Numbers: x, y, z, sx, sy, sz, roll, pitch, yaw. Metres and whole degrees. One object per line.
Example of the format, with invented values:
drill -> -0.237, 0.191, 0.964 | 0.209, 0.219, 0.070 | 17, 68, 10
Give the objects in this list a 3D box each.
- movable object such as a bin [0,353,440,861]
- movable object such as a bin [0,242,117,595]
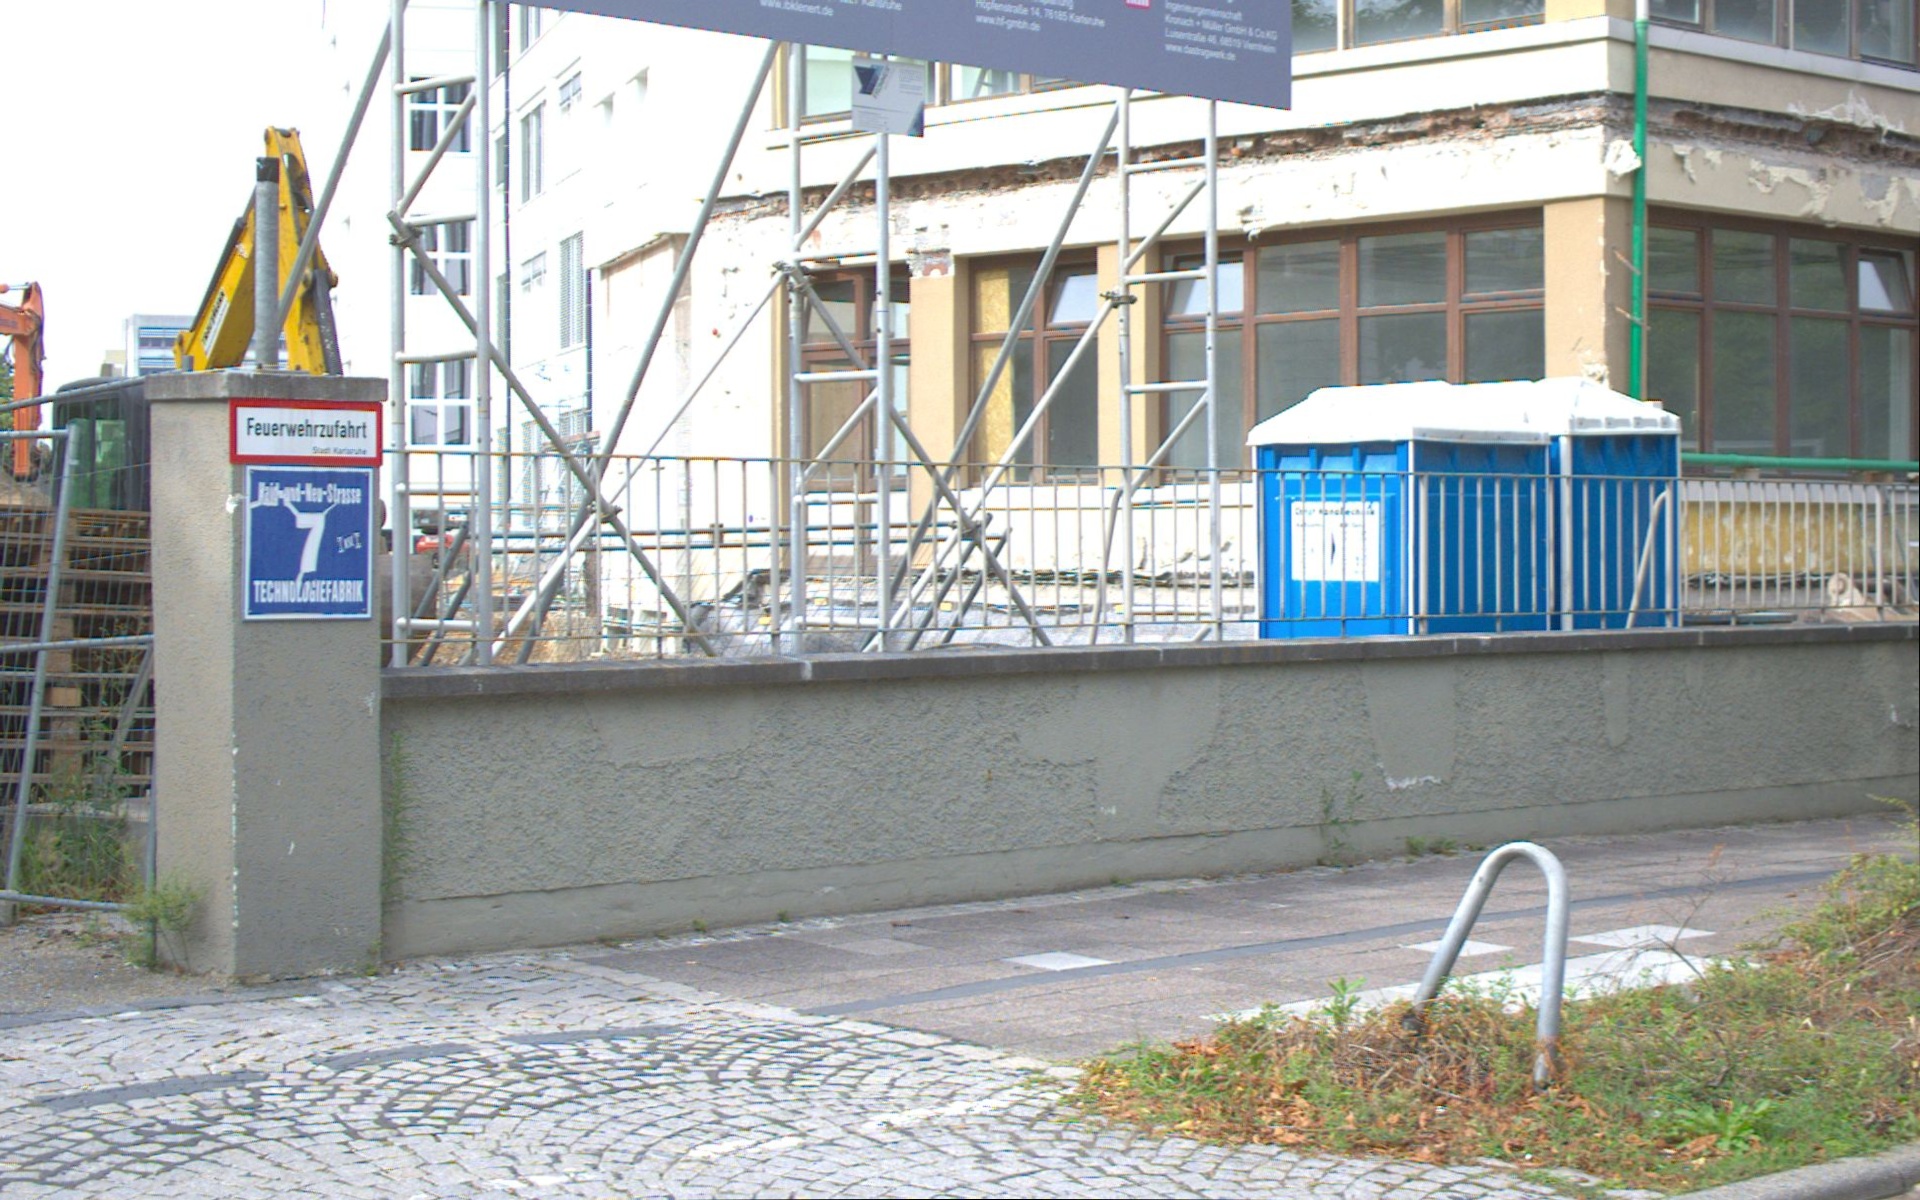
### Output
movable object such as a bin -> -4.582, 0.006, 18.368 | 2.490, 2.434, 3.061 | 0, 1, -34
movable object such as a bin -> -19.884, -3.443, 66.056 | 3.845, 6.646, 10.987 | 0, 1, 5
